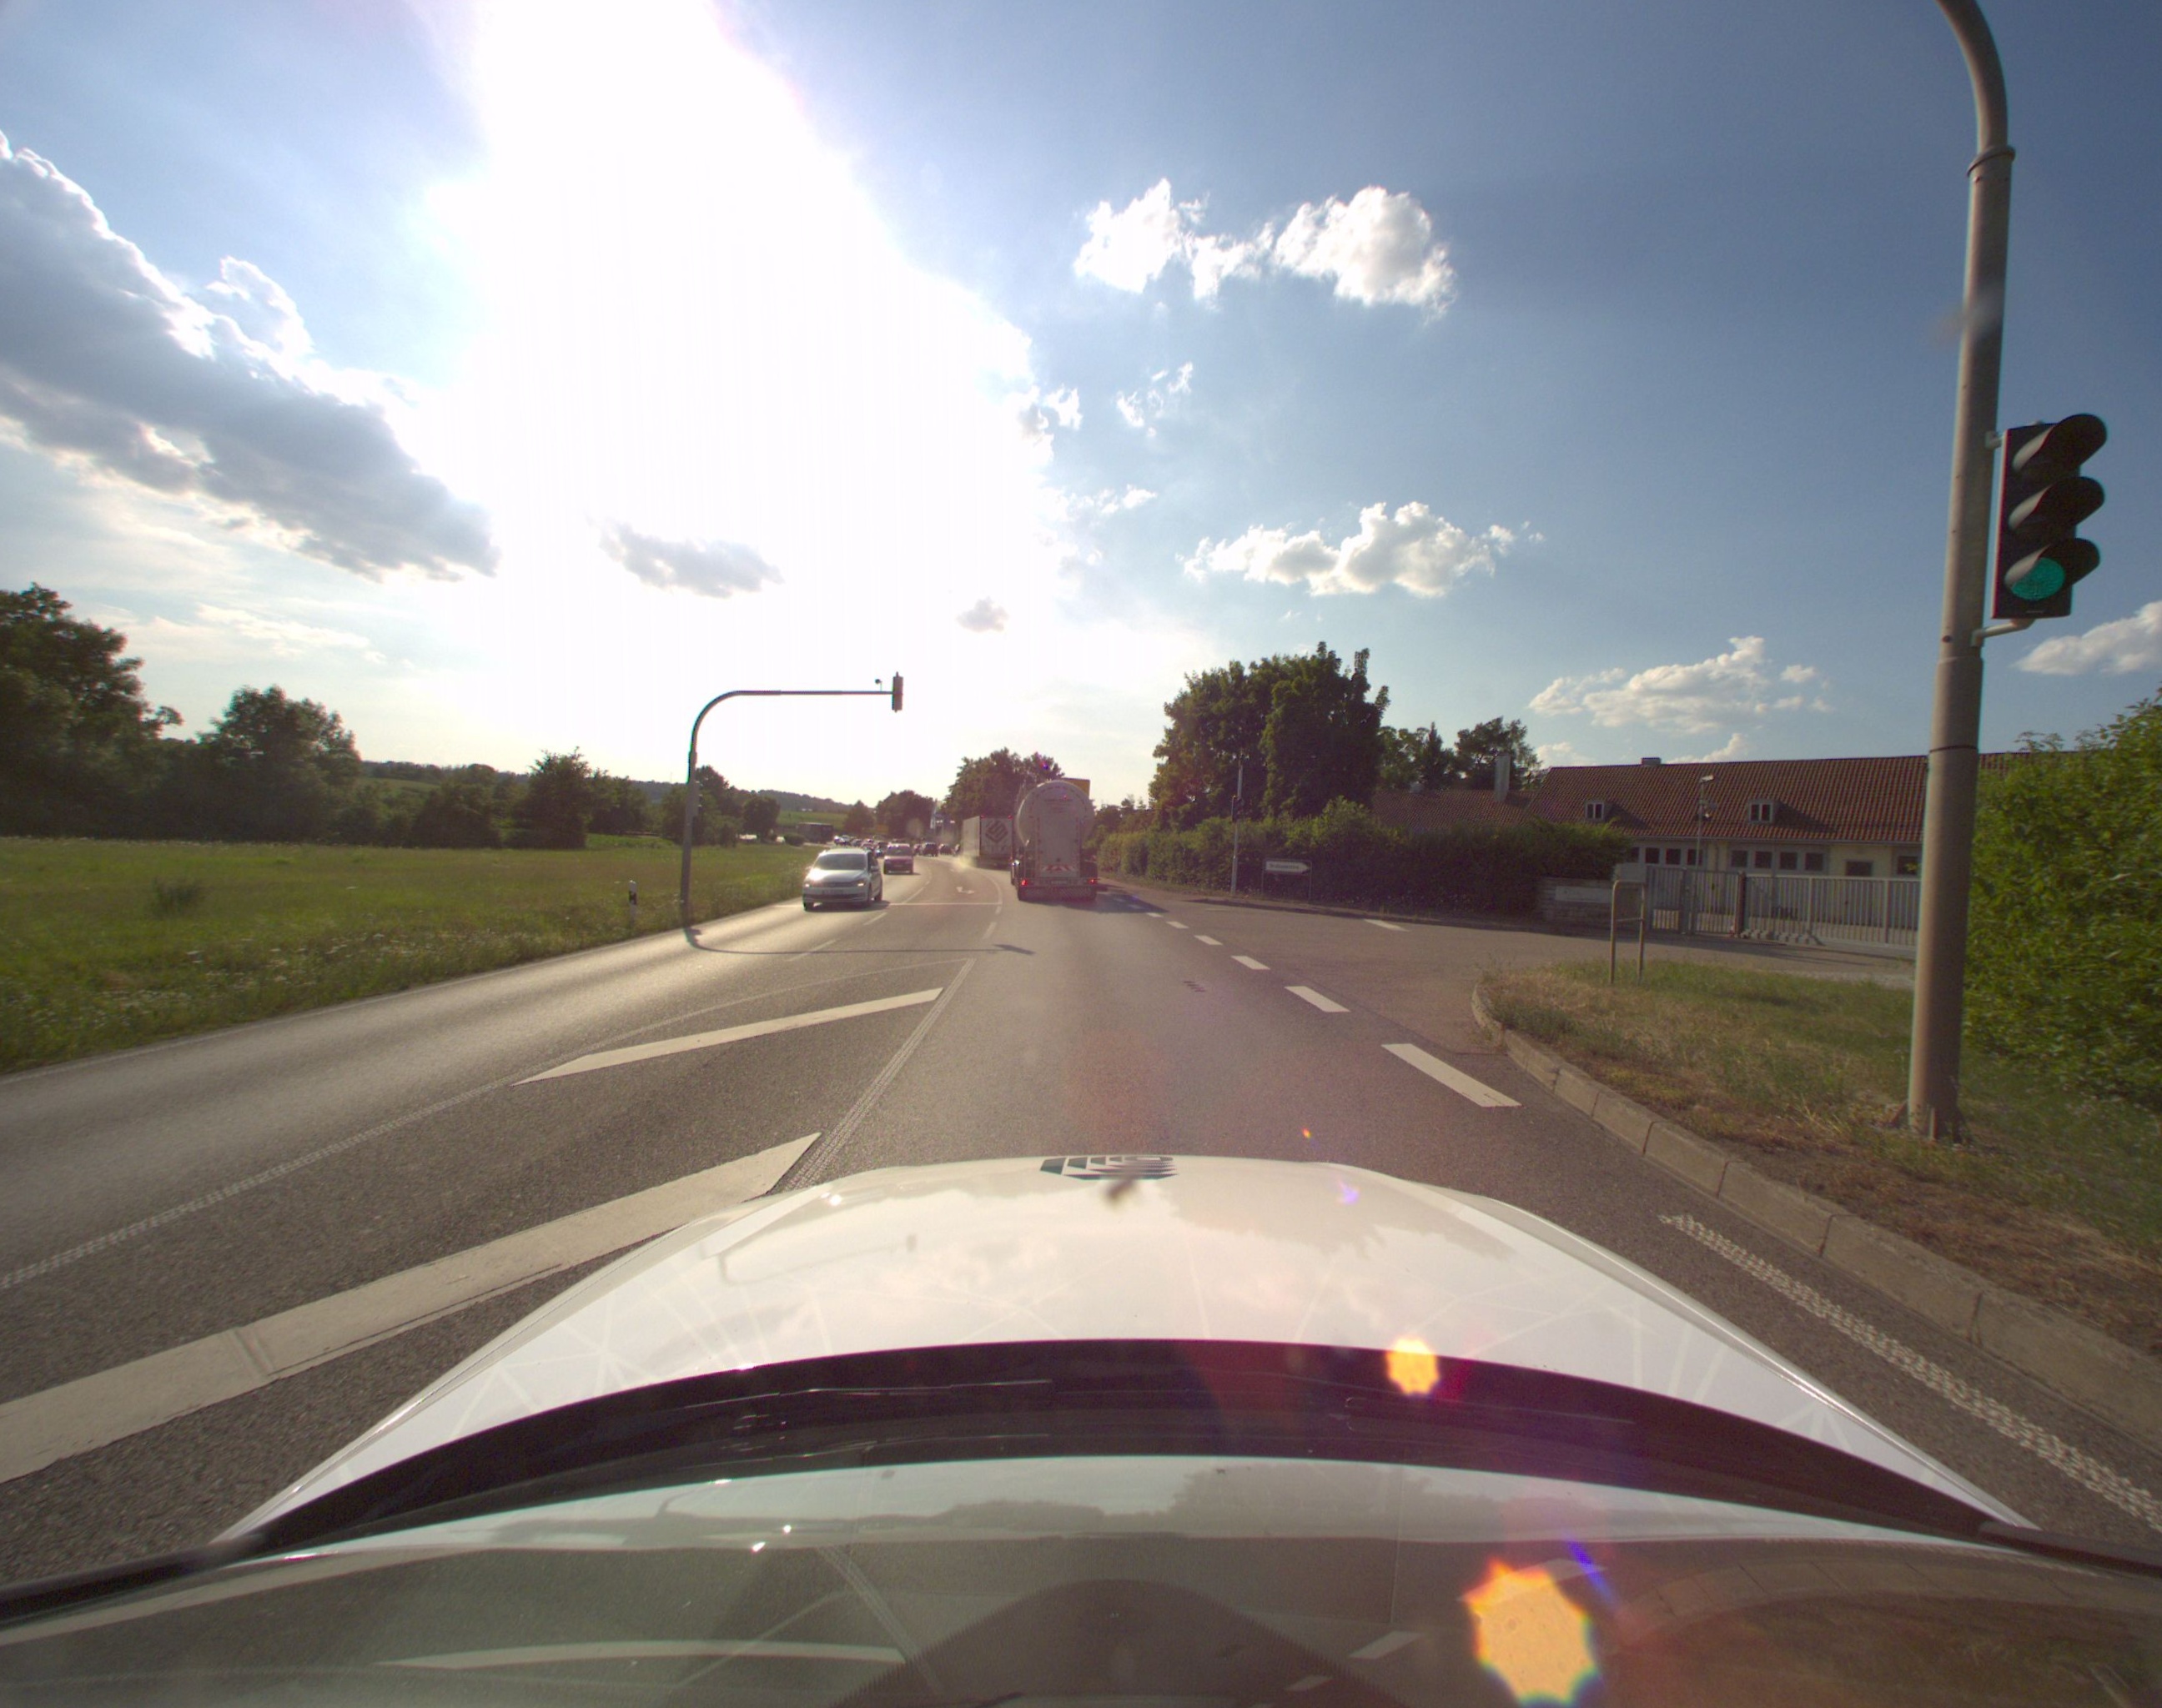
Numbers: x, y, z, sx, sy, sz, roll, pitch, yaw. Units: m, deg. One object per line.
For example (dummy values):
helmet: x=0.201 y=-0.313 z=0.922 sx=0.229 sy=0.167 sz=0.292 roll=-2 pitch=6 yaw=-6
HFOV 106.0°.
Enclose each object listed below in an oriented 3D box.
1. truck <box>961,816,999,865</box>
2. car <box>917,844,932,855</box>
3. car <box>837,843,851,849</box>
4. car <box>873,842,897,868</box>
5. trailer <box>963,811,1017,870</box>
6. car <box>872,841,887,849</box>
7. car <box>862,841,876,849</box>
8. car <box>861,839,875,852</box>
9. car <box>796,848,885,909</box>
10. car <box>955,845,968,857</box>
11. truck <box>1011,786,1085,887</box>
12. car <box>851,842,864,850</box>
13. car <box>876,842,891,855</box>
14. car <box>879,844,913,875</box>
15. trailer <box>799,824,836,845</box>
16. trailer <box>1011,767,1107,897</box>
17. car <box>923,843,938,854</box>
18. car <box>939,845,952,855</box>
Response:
truck: x=-9.394 y=-1.232 z=75.357 sx=2.954 sy=4.302 sz=4.910 roll=2 pitch=0 yaw=-13
car: x=-22.002 y=-0.642 z=114.261 sx=1.584 sy=1.340 sz=3.405 roll=2 pitch=1 yaw=-18
car: x=-46.256 y=-1.554 z=159.050 sx=1.780 sy=1.205 sz=3.393 roll=1 pitch=1 yaw=-30
car: x=-15.237 y=0.053 z=63.170 sx=1.728 sy=1.882 sz=4.313 roll=-1 pitch=1 yaw=-15
trailer: x=-7.825 y=-1.111 z=68.134 sx=2.957 sy=4.315 sz=14.116 roll=2 pitch=1 yaw=-12
car: x=-34.757 y=-1.602 z=140.676 sx=1.590 sy=1.340 sz=3.393 roll=1 pitch=1 yaw=-30
car: x=-38.063 y=-1.575 z=146.346 sx=1.590 sy=1.340 sz=3.393 roll=1 pitch=1 yaw=-30
car: x=-30.333 y=-1.194 z=115.833 sx=1.590 sy=1.775 sz=3.976 roll=-1 pitch=1 yaw=-18
car: x=-6.974 y=0.646 z=24.048 sx=1.879 sy=1.586 sz=4.318 roll=-1 pitch=1 yaw=-8
car: x=-15.171 y=-0.378 z=103.161 sx=1.422 sy=1.508 sz=3.412 roll=2 pitch=0 yaw=-12
truck: x=-1.492 y=-0.707 z=34.534 sx=2.905 sy=4.006 sz=4.052 roll=0 pitch=0 yaw=-6
car: x=-42.129 y=-1.525 z=153.480 sx=1.590 sy=1.340 sz=3.393 roll=1 pitch=1 yaw=-30
car: x=-22.804 y=-0.643 z=94.161 sx=1.588 sy=1.466 sz=3.588 roll=-1 pitch=1 yaw=-15
car: x=-11.400 y=0.279 z=49.998 sx=1.884 sy=1.775 sz=4.299 roll=-1 pitch=1 yaw=-15
trailer: x=-56.592 y=-4.189 z=174.454 sx=3.401 sy=4.350 sz=14.139 roll=1 pitch=1 yaw=-36
trailer: x=-1.100 y=-0.735 z=30.153 sx=2.905 sy=4.006 sz=9.912 roll=0 pitch=1 yaw=-5
car: x=-19.594 y=-0.697 z=106.160 sx=1.583 sy=1.340 sz=3.407 roll=2 pitch=1 yaw=-16
car: x=-19.558 y=-0.584 z=117.610 sx=1.675 sy=1.340 sz=3.412 roll=2 pitch=1 yaw=-12
